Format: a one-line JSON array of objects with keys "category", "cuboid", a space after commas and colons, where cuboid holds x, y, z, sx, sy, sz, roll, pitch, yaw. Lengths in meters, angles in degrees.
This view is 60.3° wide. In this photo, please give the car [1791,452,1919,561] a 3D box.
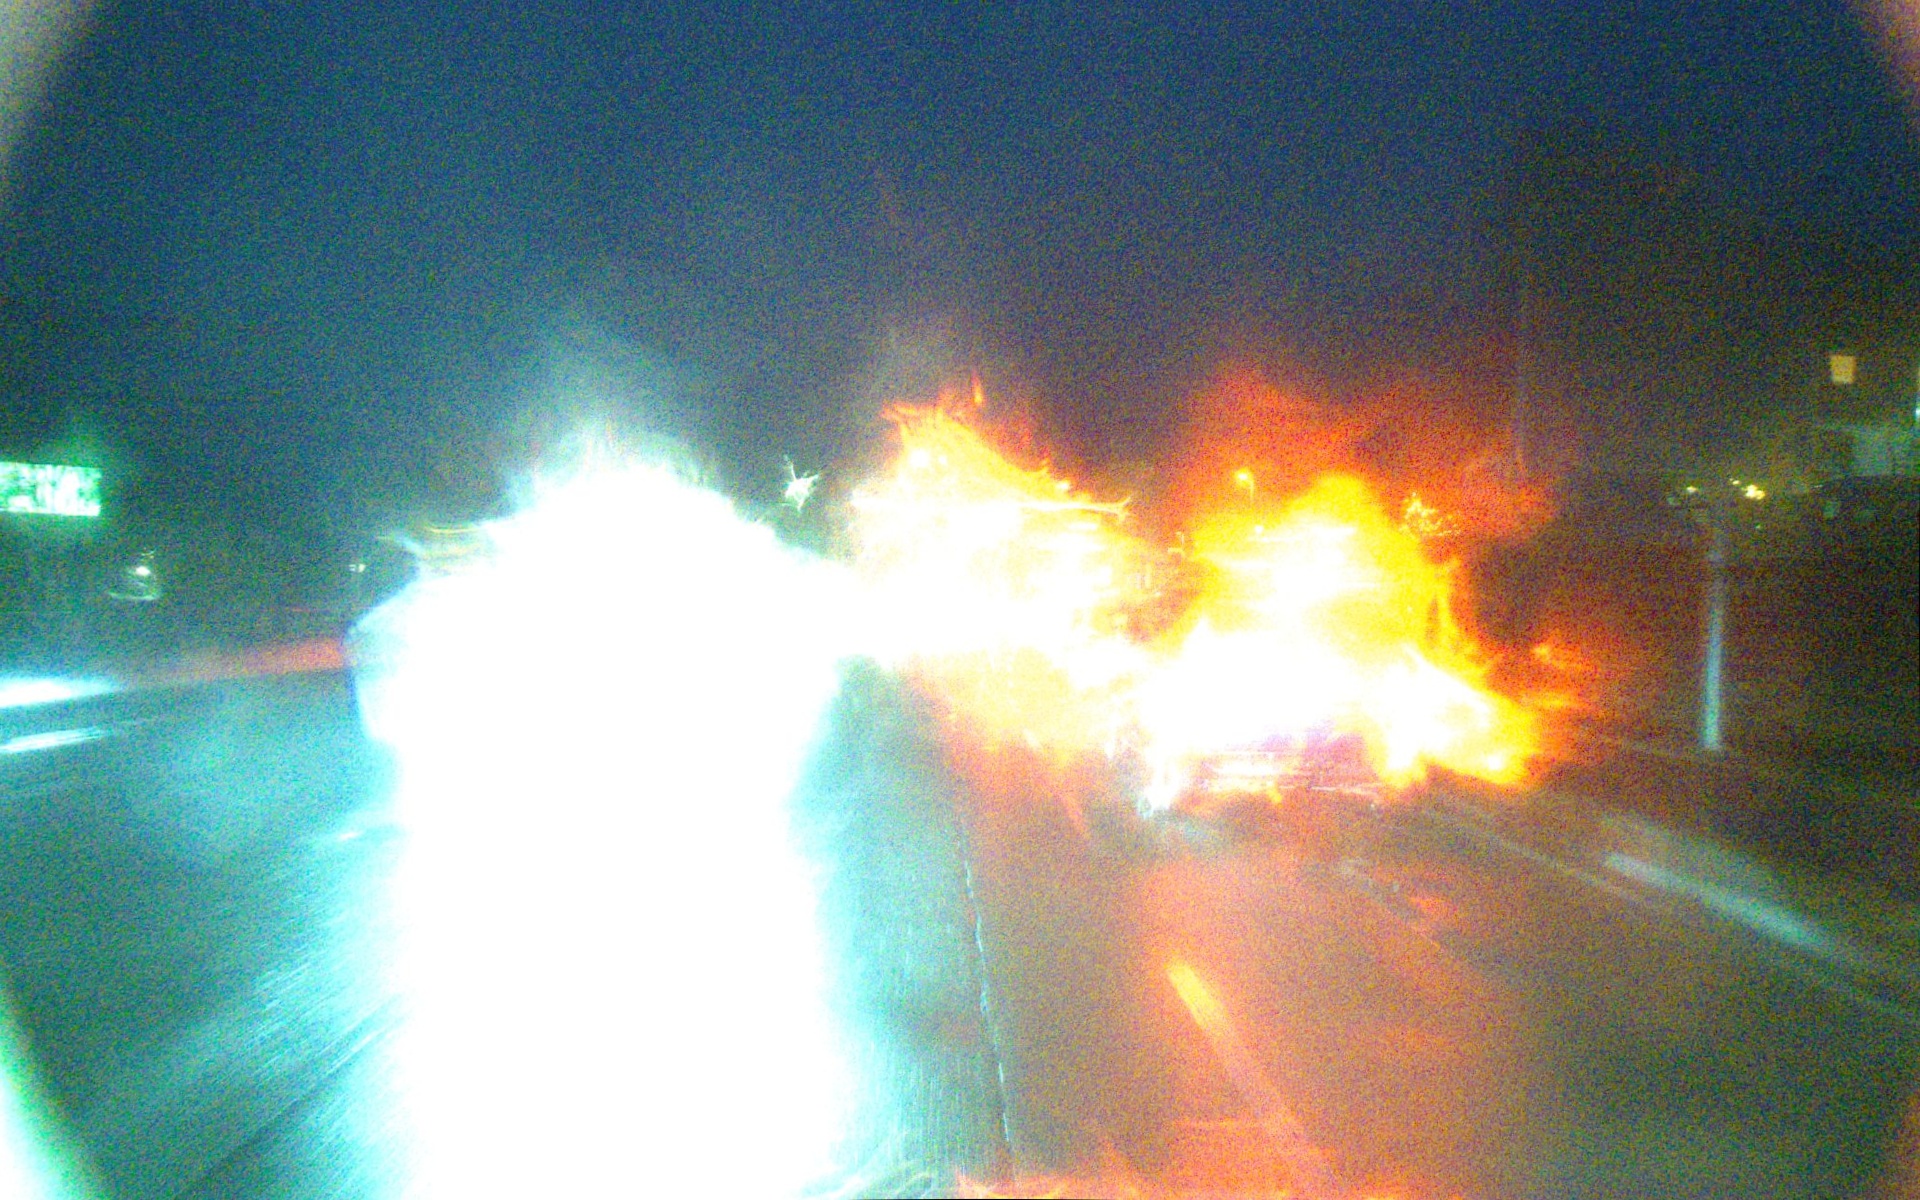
[{"category": "car", "cuboid": [15.737, -1.507, 26.947, 1.609, 1.646, 4.118, 1, 0, -15]}]

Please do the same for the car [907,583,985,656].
[{"category": "car", "cuboid": [-0.289, 0.465, 40.294, 1.659, 1.658, 3.854, 1, 0, 3]}]

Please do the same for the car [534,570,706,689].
[{"category": "car", "cuboid": [-4.610, 0.349, 22.954, 1.660, 1.459, 4.291, 1, 0, -3]}]

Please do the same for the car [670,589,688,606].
[{"category": "car", "cuboid": [-34.317, -0.316, 202.045, 1.956, 1.945, 4.734, 1, 0, -8]}]

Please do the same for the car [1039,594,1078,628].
[{"category": "car", "cuboid": [4.334, 0.487, 72.137, 1.628, 1.475, 4.052, 0, -1, 4]}]

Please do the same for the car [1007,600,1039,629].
[{"category": "car", "cuboid": [3.254, 0.763, 85.627, 1.628, 1.475, 4.051, 1, -1, 2]}]

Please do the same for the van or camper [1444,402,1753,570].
[{"category": "van or camper", "cuboid": [12.696, -2.140, 33.548, 2.539, 2.959, 6.329, 0, 0, -17]}]

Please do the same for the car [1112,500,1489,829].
[{"category": "car", "cuboid": [2.296, 0.384, 12.326, 1.903, 2.006, 4.218, 1, 0, 0]}]

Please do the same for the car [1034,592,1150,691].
[{"category": "car", "cuboid": [2.133, 0.616, 27.130, 1.731, 1.475, 4.220, 1, 0, 4]}]

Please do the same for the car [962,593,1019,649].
[{"category": "car", "cuboid": [0.999, 0.626, 52.367, 1.673, 1.666, 3.732, -1, 0, 3]}]
